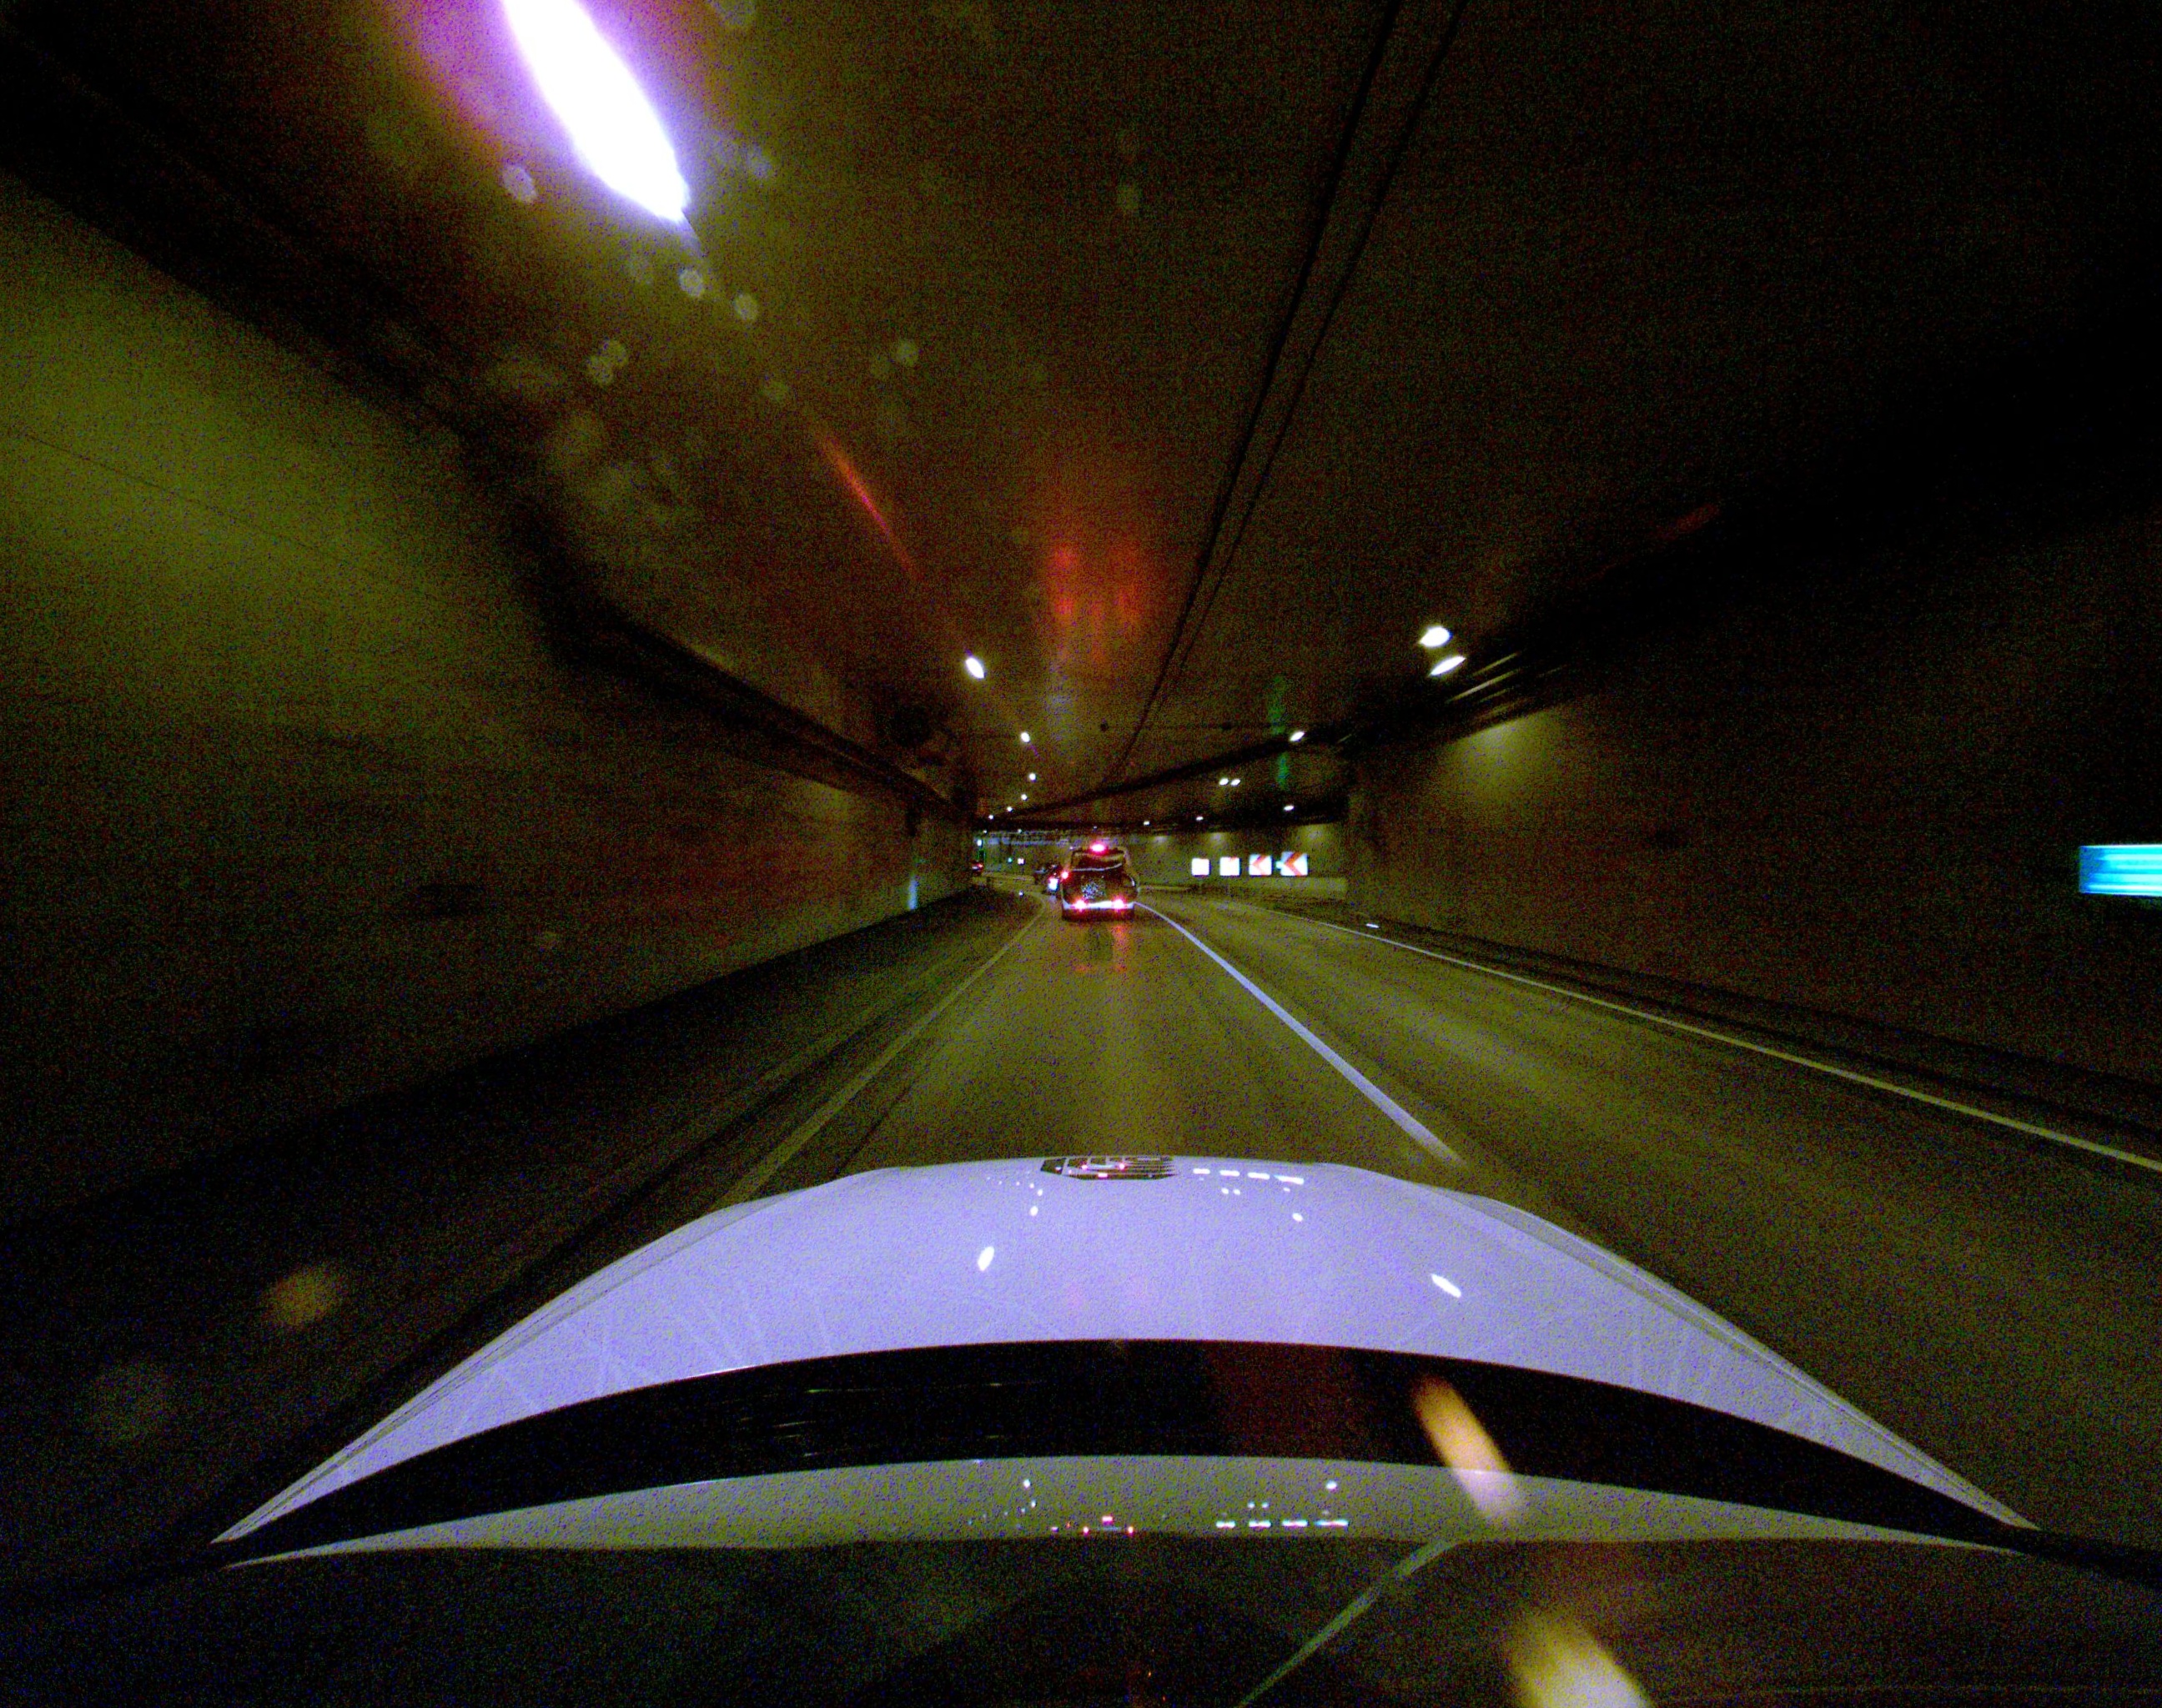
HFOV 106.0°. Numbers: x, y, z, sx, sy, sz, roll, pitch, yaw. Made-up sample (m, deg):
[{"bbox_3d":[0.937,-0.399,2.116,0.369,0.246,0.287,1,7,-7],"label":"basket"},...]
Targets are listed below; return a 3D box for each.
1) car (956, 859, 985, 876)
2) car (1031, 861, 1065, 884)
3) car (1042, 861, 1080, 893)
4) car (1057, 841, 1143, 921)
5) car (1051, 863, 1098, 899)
[{"bbox_3d":[-11.203,1.303,82.262,1.831,1.630,3.812,2,-1,-25],"label":"car"},{"bbox_3d":[-2.548,1.425,62.638,1.608,1.630,3.332,-3,0,-20],"label":"car"},{"bbox_3d":[-1.062,1.211,41.792,1.602,1.594,3.345,1,-3,-8],"label":"car"},{"bbox_3d":[0.449,0.672,21.762,1.987,1.847,5.300,-1,-1,0],"label":"car"},{"bbox_3d":[-0.326,1.117,34.196,1.601,1.395,3.268,0,-1,-7],"label":"car"}]
